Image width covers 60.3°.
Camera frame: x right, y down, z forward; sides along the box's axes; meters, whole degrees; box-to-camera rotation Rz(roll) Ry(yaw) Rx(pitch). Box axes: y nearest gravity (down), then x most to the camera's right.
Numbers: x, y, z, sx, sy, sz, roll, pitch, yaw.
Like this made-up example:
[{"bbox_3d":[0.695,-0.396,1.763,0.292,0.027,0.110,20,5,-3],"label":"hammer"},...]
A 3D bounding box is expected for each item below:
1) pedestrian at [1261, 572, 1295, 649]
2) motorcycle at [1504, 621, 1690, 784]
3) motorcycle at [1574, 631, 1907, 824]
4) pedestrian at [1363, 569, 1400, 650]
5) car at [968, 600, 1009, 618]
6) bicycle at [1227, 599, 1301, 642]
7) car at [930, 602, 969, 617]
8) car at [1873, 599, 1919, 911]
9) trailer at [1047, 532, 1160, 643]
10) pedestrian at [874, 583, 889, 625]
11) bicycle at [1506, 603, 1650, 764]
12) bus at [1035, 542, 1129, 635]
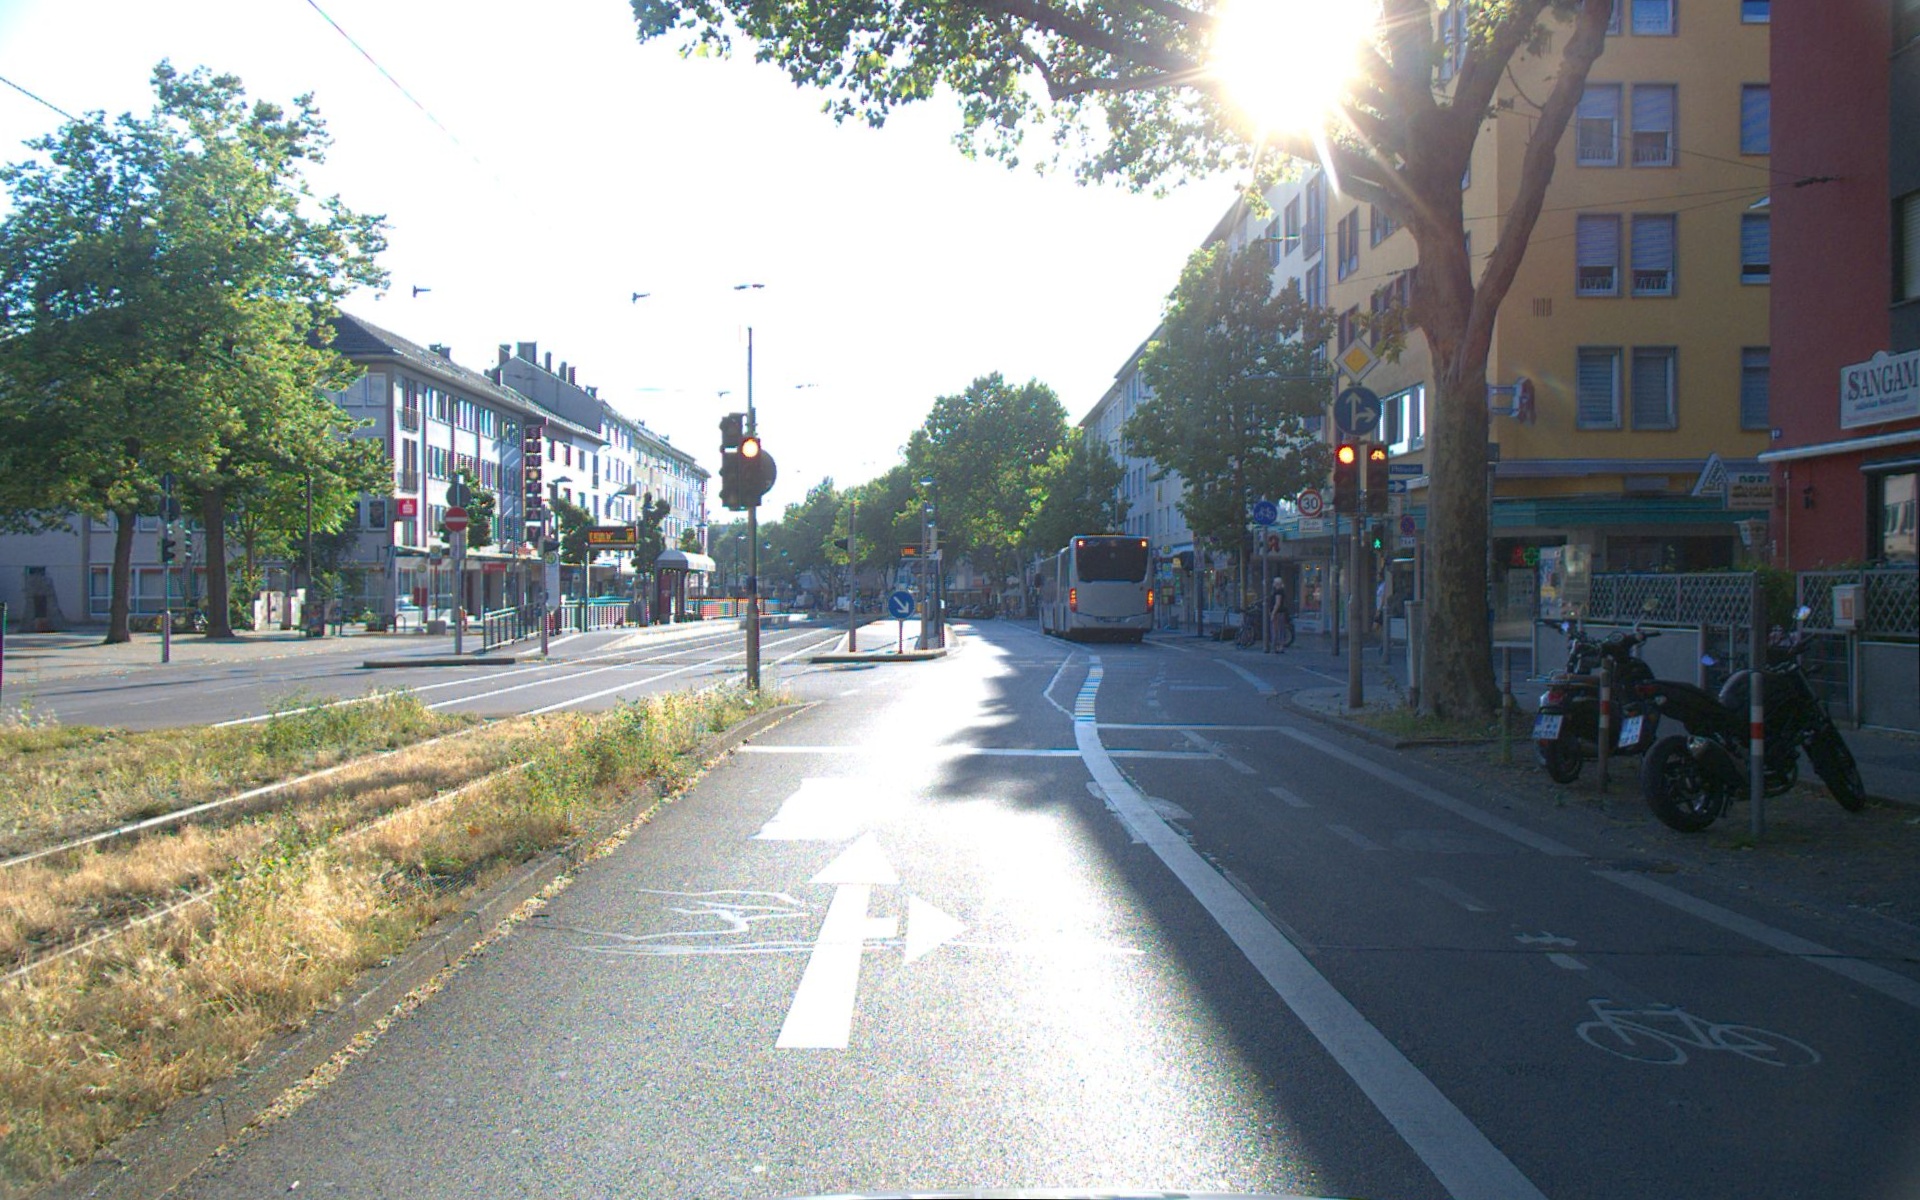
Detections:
[{"bbox_3d":[7.500,0.236,39.065,0.666,1.801,0.687,0,0,0],"label":"pedestrian"},{"bbox_3d":[5.155,0.780,13.314,1.982,1.172,0.592,-1,1,-43],"label":"motorcycle"},{"bbox_3d":[5.265,0.817,11.140,2.176,1.081,0.762,-3,1,-23],"label":"motorcycle"},{"bbox_3d":[9.482,0.209,37.227,0.666,1.801,0.687,0,0,0],"label":"pedestrian"},{"bbox_3d":[2.893,0.921,170.021,3.847,1.729,1.816,-1,0,-29],"label":"car"},{"bbox_3d":[7.829,0.520,42.625,1.736,1.039,0.694,-2,0,-1],"label":"bicycle"},{"bbox_3d":[-1.135,1.018,177.827,3.847,1.624,1.675,-1,0,-29],"label":"car"},{"bbox_3d":[5.219,0.724,5.793,1.675,1.421,4.321,-1,1,0],"label":"car"},{"bbox_3d":[4.443,-0.389,52.907,2.754,3.164,8.794,2,0,0],"label":"trailer"},{"bbox_3d":[-1.676,0.083,35.176,0.285,0.890,0.344,2,0,-3],"label":"pedestrian"},{"bbox_3d":[5.510,0.699,14.696,0.683,1.224,1.839,2,4,38],"label":"bicycle"},{"bbox_3d":[4.431,-0.410,61.847,2.754,3.155,9.094,2,0,0],"label":"bus"}]
